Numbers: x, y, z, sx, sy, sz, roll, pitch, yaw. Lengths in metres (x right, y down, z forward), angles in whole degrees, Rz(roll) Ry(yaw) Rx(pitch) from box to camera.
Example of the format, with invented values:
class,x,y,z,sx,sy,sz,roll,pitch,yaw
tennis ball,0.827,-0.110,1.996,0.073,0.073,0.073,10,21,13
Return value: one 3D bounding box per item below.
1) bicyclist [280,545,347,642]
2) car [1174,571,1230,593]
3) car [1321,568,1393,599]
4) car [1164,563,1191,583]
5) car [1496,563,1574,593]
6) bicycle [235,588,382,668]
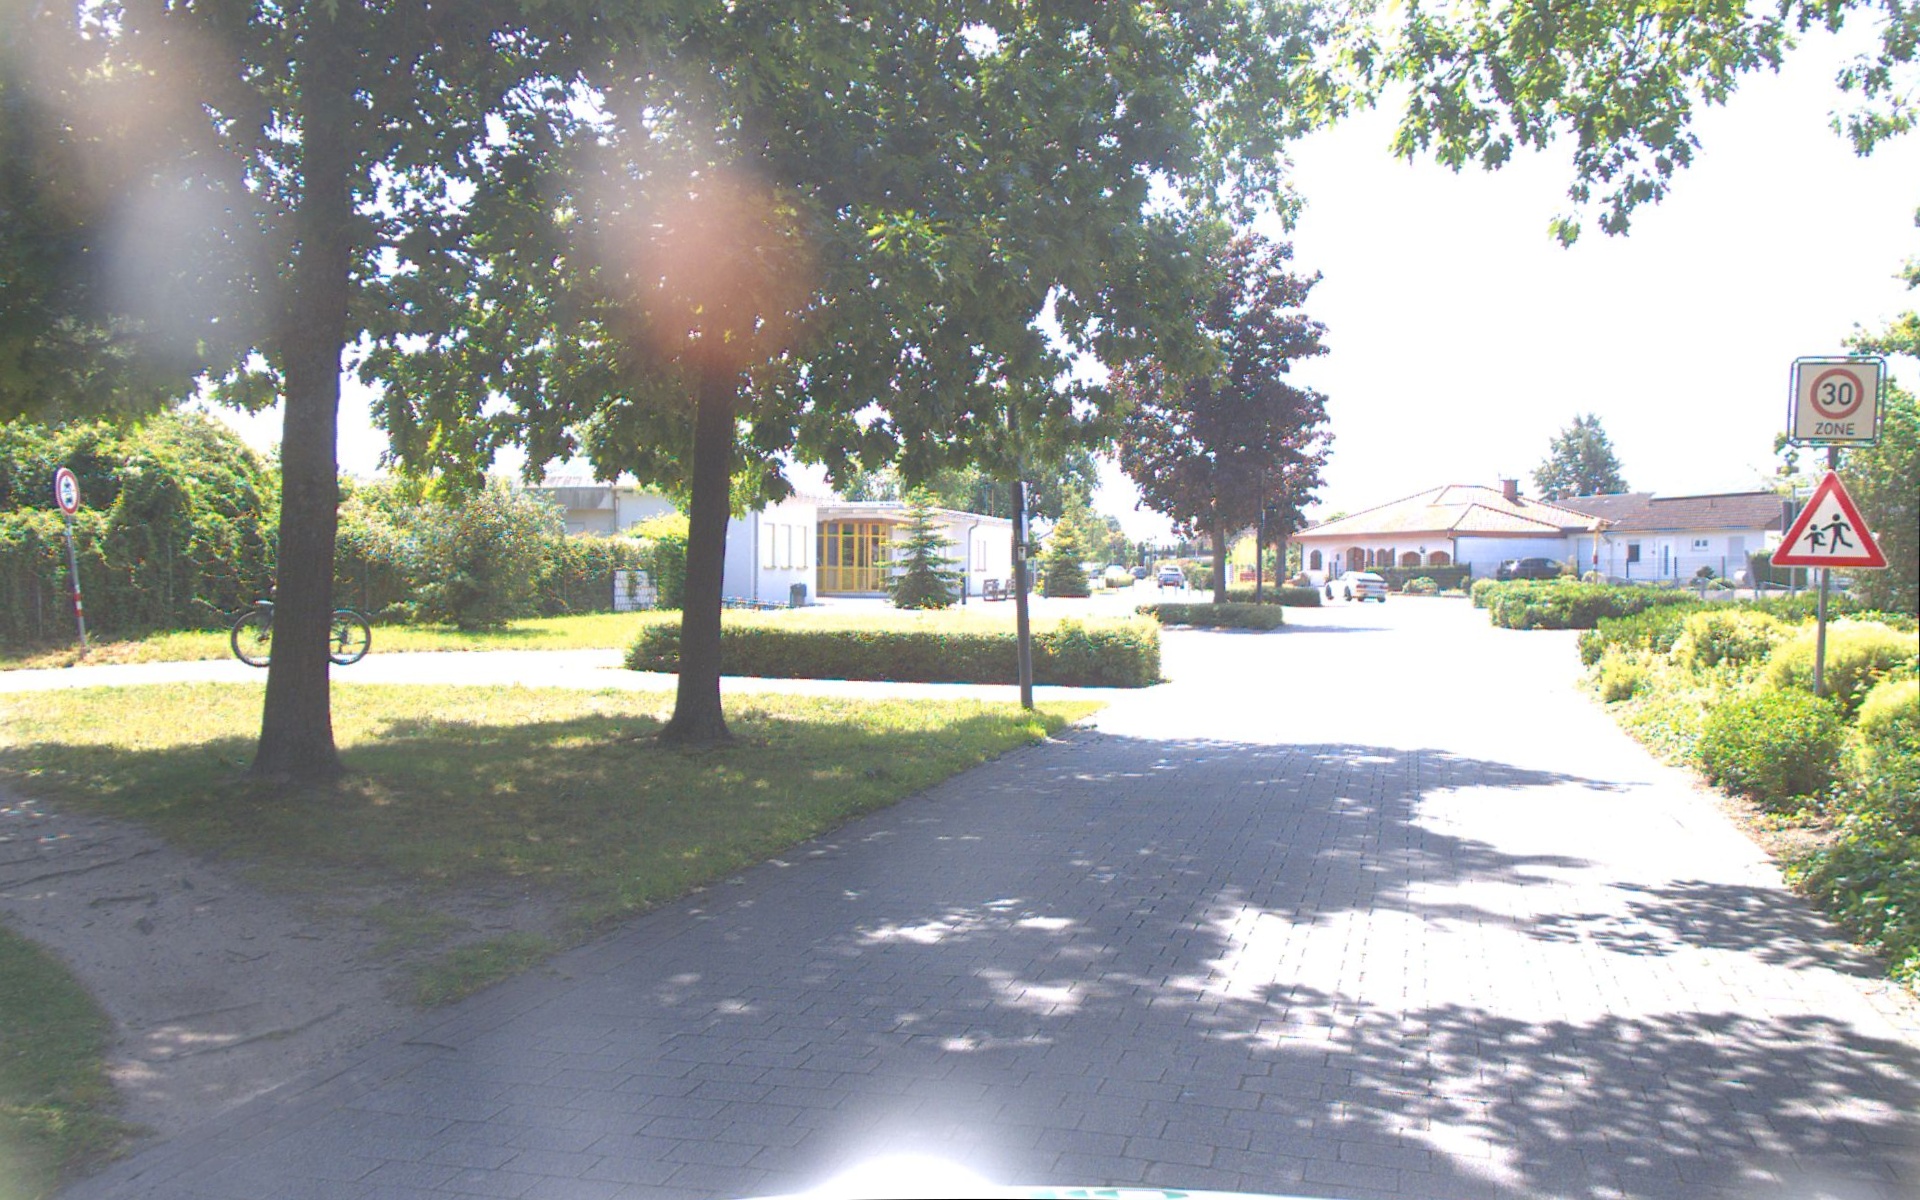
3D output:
class,x,y,z,sx,sy,sz,roll,pitch,yaw
bicyclist,-8.009,-0.087,20.484,0.642,1.185,0.591,-1,1,-38
car,14.527,-1.100,99.588,1.960,1.310,3.985,0,1,-15
car,17.175,-0.736,71.683,1.587,1.310,3.543,0,1,-15
car,14.309,-1.758,108.666,1.580,1.310,3.560,1,1,10
car,30.542,-1.155,87.843,3.781,1.569,1.837,0,1,-29
bicycle,-8.044,0.328,20.461,1.604,0.945,0.591,-1,1,-38
